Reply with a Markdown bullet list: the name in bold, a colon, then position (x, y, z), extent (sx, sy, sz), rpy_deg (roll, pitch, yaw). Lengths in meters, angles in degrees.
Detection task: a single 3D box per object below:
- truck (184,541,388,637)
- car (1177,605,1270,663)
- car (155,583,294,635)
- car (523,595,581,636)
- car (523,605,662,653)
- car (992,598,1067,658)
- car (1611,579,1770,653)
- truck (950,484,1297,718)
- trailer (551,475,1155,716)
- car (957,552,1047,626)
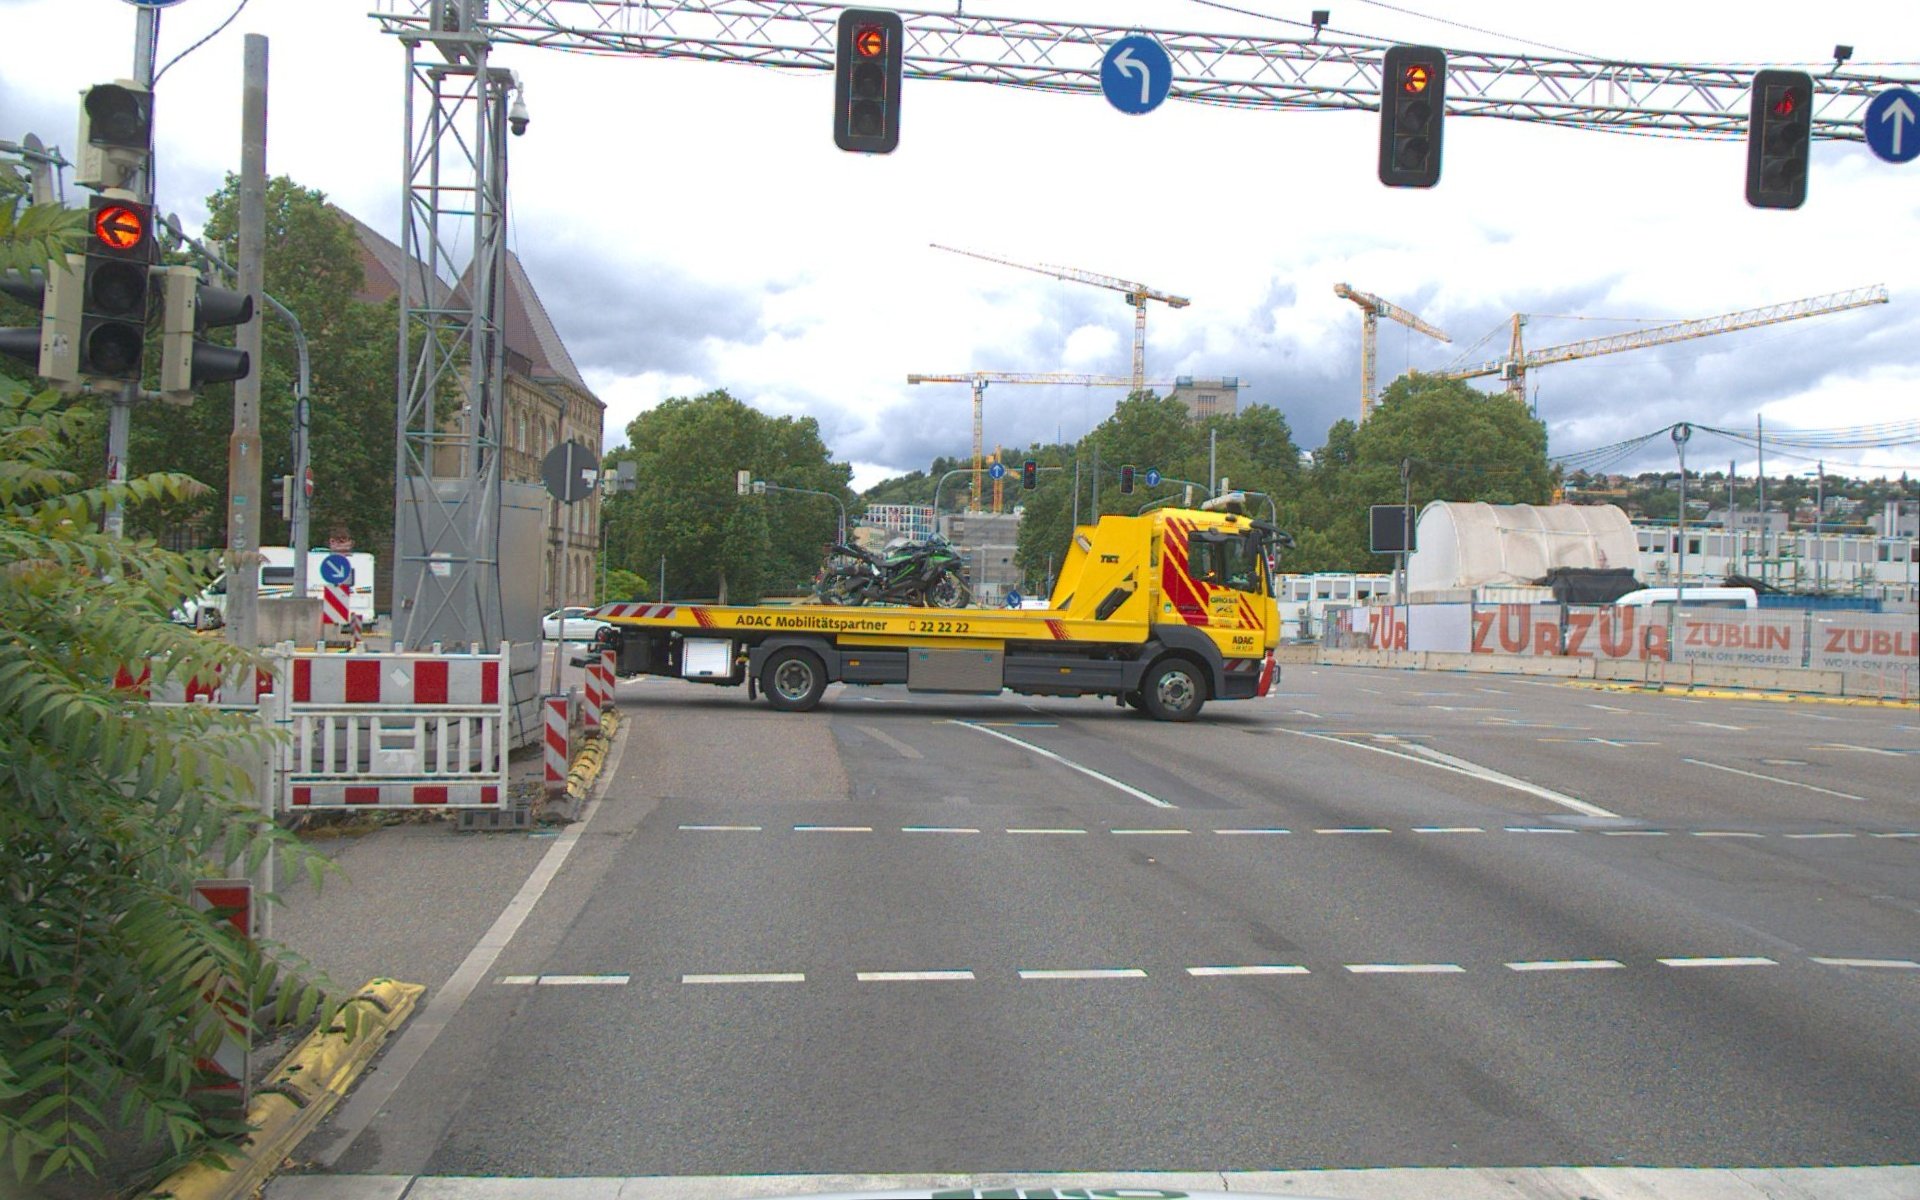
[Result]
- **truck**: position (-23.675, -0.336, 58.265), extent (6.495, 3.201, 2.349), rpy_deg (1, 0, -24)
- **car**: position (8.494, 1.059, 53.758), extent (1.954, 1.790, 4.500), rpy_deg (1, 0, -5)
- **car**: position (-26.705, 0.332, 60.125), extent (4.508, 1.806, 1.984), rpy_deg (1, 0, -26)
- **car**: position (-19.551, 0.725, 79.422), extent (1.954, 1.870, 3.997), rpy_deg (1, 0, -3)
- **car**: position (-14.676, 1.144, 66.088), extent (5.101, 1.816, 2.149), rpy_deg (1, 0, -24)
- **car**: position (2.261, 0.905, 55.272), extent (1.828, 1.865, 4.716), rpy_deg (1, 0, -6)
- **car**: position (21.050, 0.449, 47.816), extent (3.902, 2.049, 2.001), rpy_deg (1, 0, 15)
- **truck**: position (1.988, 0.021, 21.531), extent (4.120, 2.773, 2.861), rpy_deg (1, 0, -2)
- **trailer**: position (-1.324, -0.037, 21.318), extent (7.203, 2.773, 2.860), rpy_deg (1, 0, -4)
- **car**: position (1.082, -0.272, 44.699), extent (1.954, 1.866, 4.253), rpy_deg (1, 0, -5)
